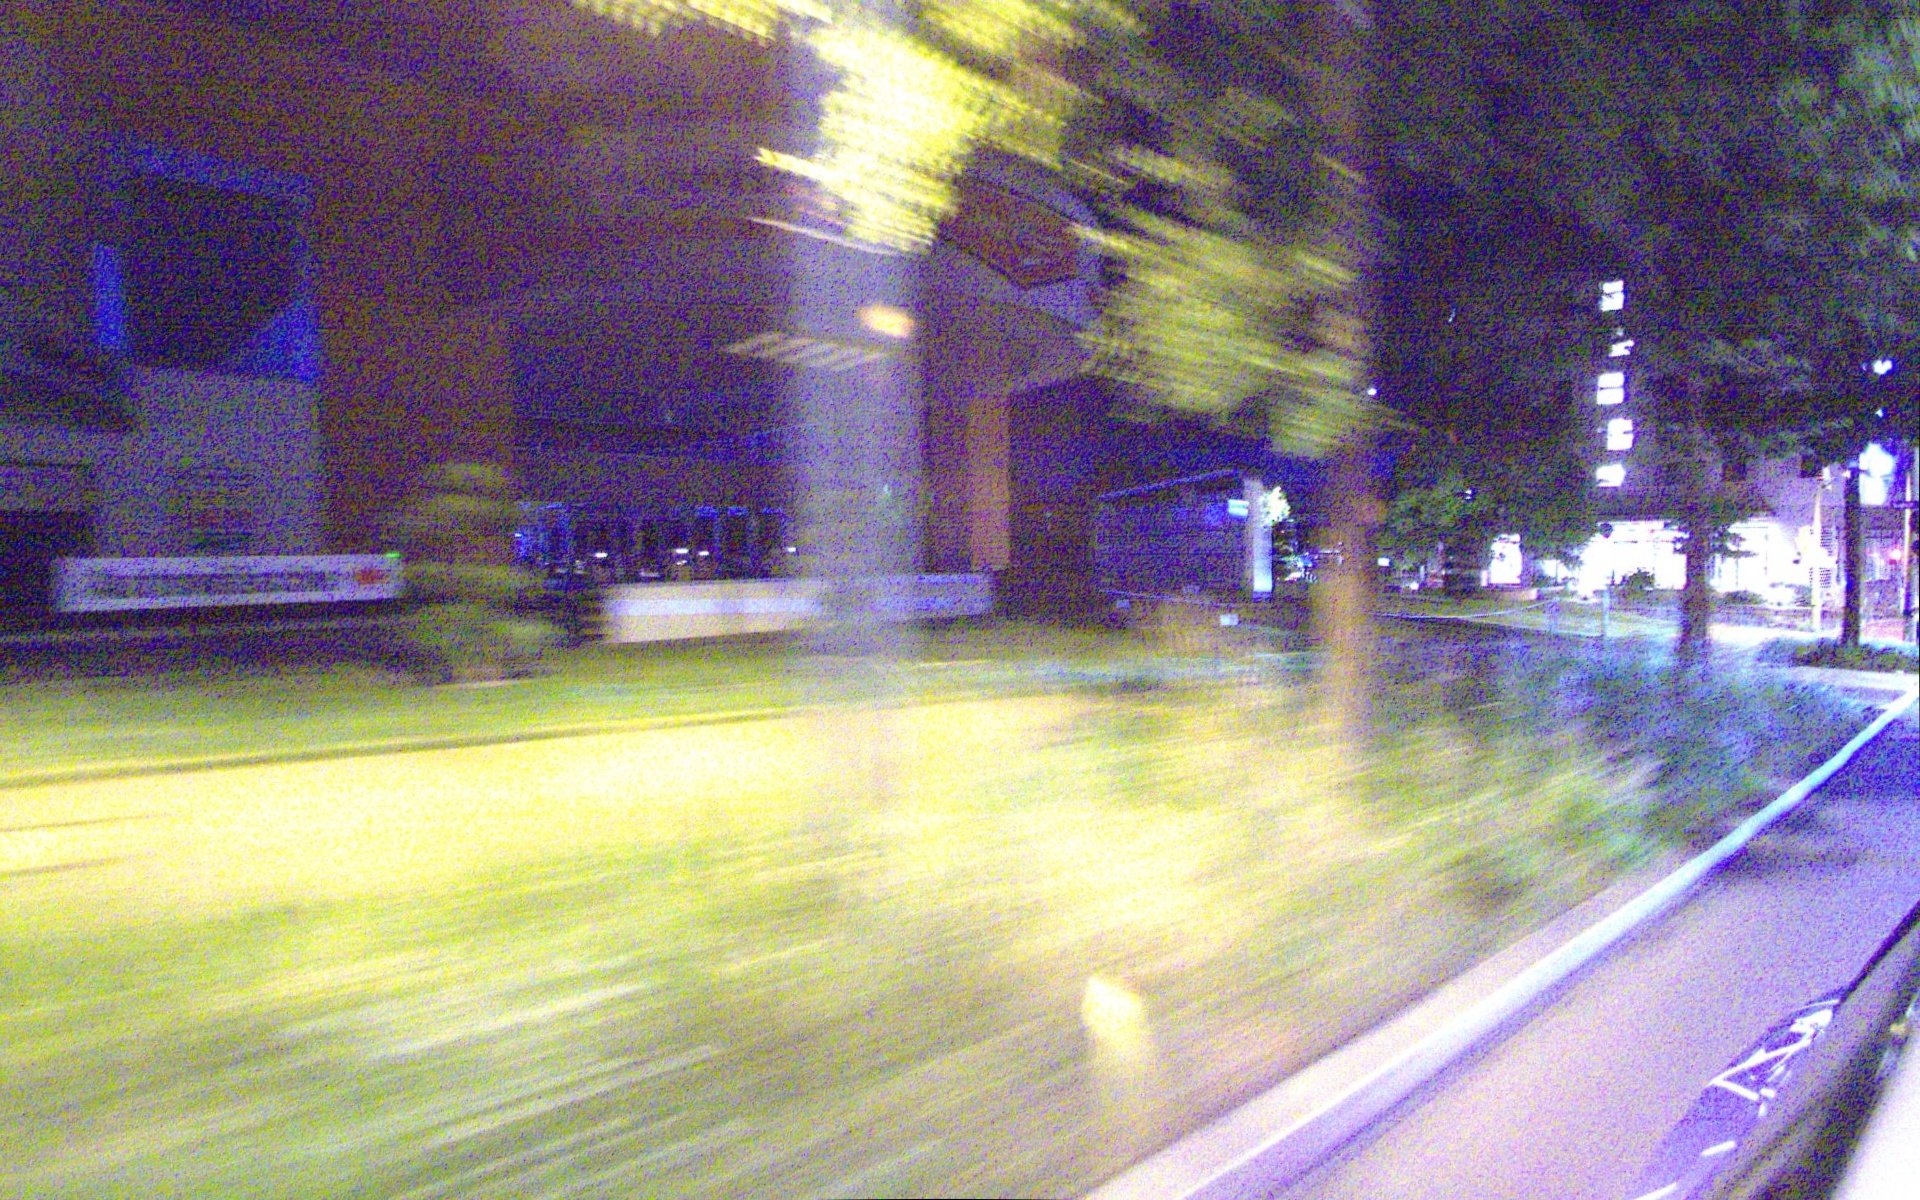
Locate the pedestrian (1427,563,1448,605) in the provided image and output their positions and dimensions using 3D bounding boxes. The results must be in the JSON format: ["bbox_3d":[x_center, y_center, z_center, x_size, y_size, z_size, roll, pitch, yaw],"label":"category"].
[{"bbox_3d":[21.757,-0.728,46.121,0.719,1.900,0.663,0,1,-42],"label":"pedestrian"}]

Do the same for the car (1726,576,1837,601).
[{"bbox_3d":[40.211,-0.594,49.599,3.935,1.047,1.480,2,1,10],"label":"car"}]
